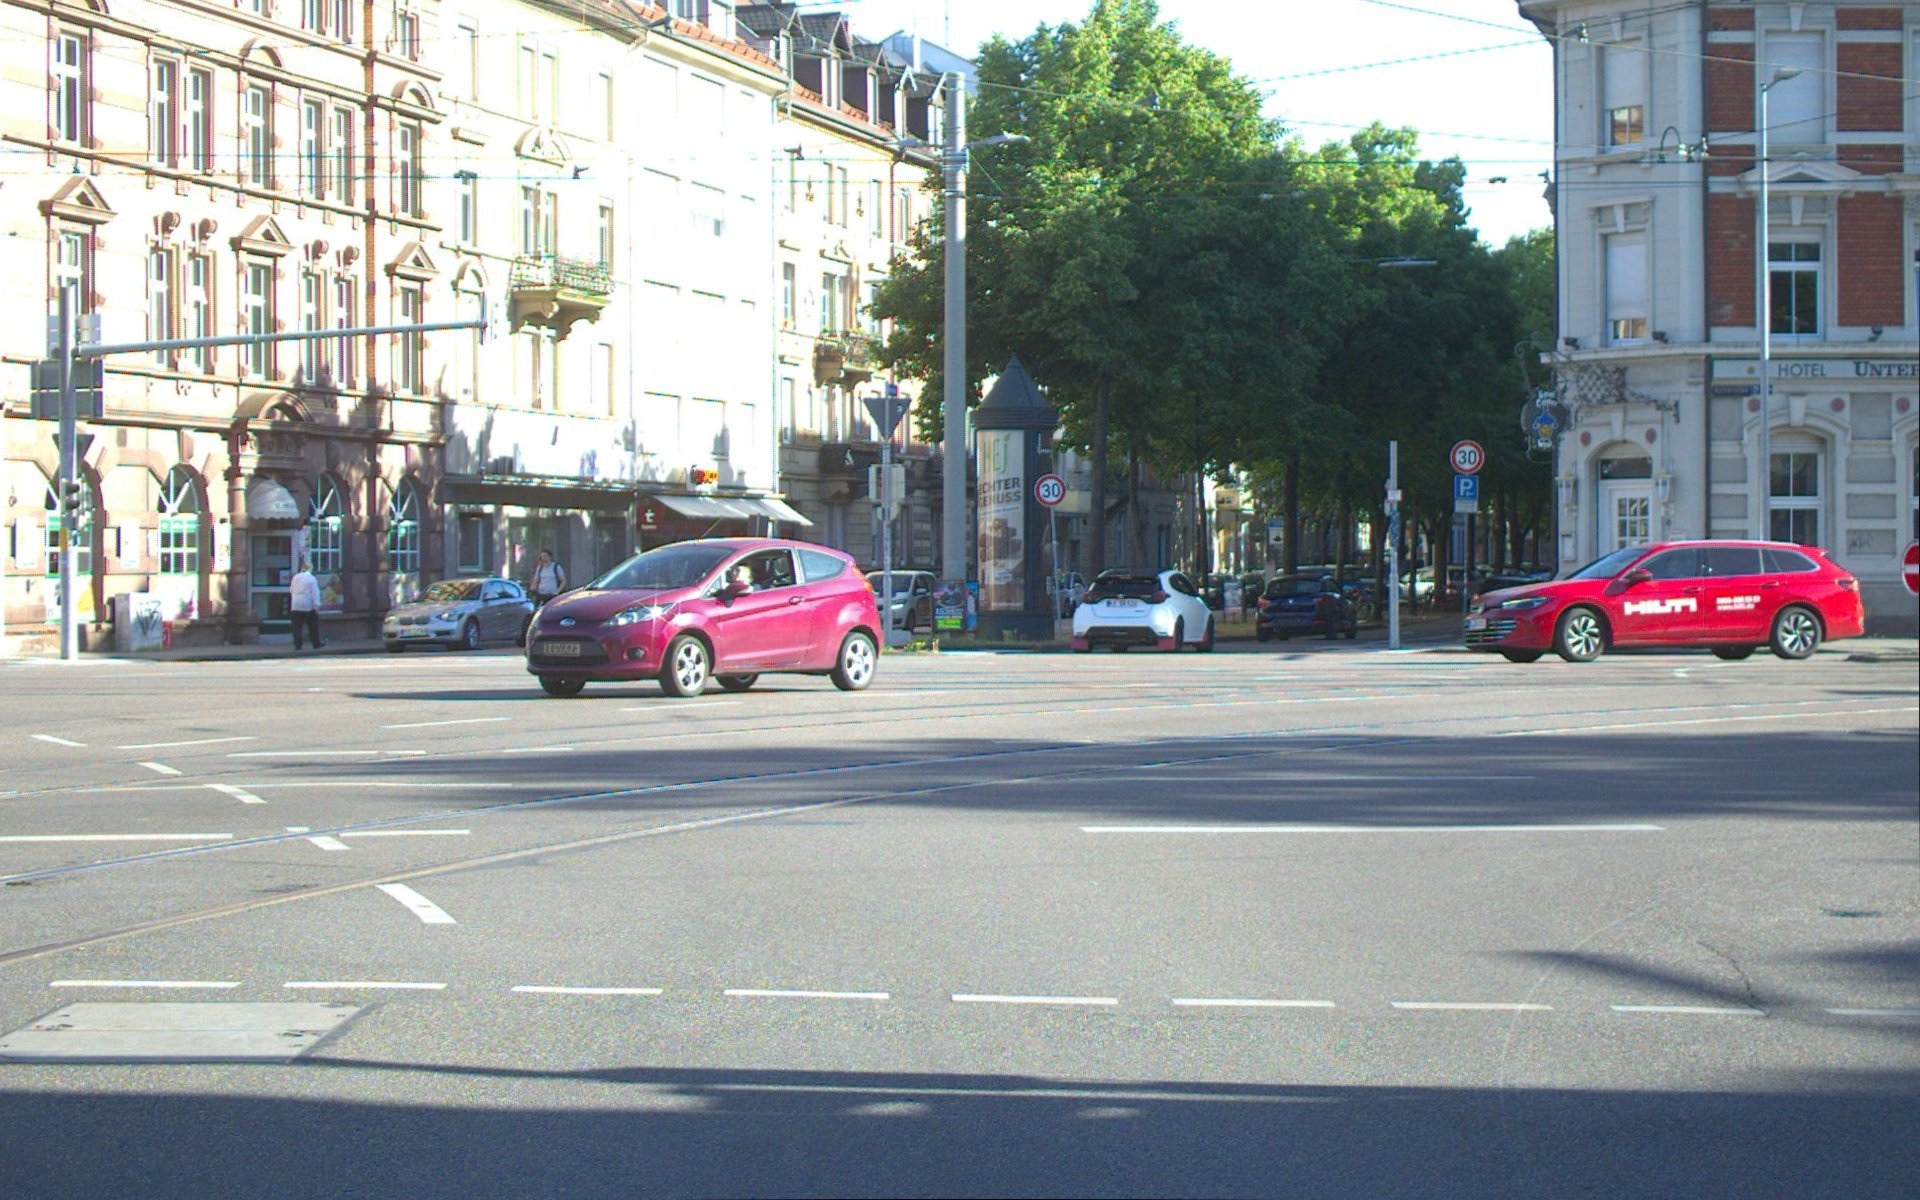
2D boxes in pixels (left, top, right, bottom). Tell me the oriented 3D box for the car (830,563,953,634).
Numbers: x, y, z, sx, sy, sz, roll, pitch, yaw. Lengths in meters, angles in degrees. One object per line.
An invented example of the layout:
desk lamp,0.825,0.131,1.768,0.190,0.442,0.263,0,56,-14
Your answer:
car,-1.553,-0.039,79.431,1.804,1.570,3.888,1,1,15

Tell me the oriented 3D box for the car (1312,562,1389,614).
car,13.232,-0.410,116.284,1.995,1.678,3.997,1,1,15

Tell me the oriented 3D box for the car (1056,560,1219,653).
car,3.089,0.093,58.976,1.894,1.449,4.005,0,2,17

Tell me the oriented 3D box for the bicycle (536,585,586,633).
bicycle,-7.811,0.172,67.346,0.473,0.919,1.451,1,1,14

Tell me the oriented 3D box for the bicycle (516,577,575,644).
bicycle,-7.844,0.194,65.095,0.565,1.250,1.556,1,0,14

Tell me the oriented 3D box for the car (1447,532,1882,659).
car,8.536,-0.079,41.784,4.857,1.464,1.804,0,2,-13

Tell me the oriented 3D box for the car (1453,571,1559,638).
car,13.145,0.099,82.572,1.758,1.550,3.996,1,1,20

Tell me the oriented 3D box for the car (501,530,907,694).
car,-2.335,0.062,32.186,1.594,1.421,3.873,1,2,38

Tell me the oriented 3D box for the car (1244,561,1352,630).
car,7.197,-0.118,72.985,1.826,1.398,3.998,0,1,12

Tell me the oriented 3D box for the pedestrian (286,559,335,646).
pedestrian,-12.467,0.047,65.975,0.568,1.636,0.792,1,0,23

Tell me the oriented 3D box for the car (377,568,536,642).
car,-9.782,0.080,67.055,1.661,1.369,3.889,1,1,15

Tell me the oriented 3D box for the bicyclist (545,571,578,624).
bicyclist,-7.809,-0.046,67.355,0.473,1.036,0.537,1,0,15

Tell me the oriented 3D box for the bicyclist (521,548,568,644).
bicyclist,-7.865,-0.081,65.032,0.565,1.797,0.913,1,0,15
